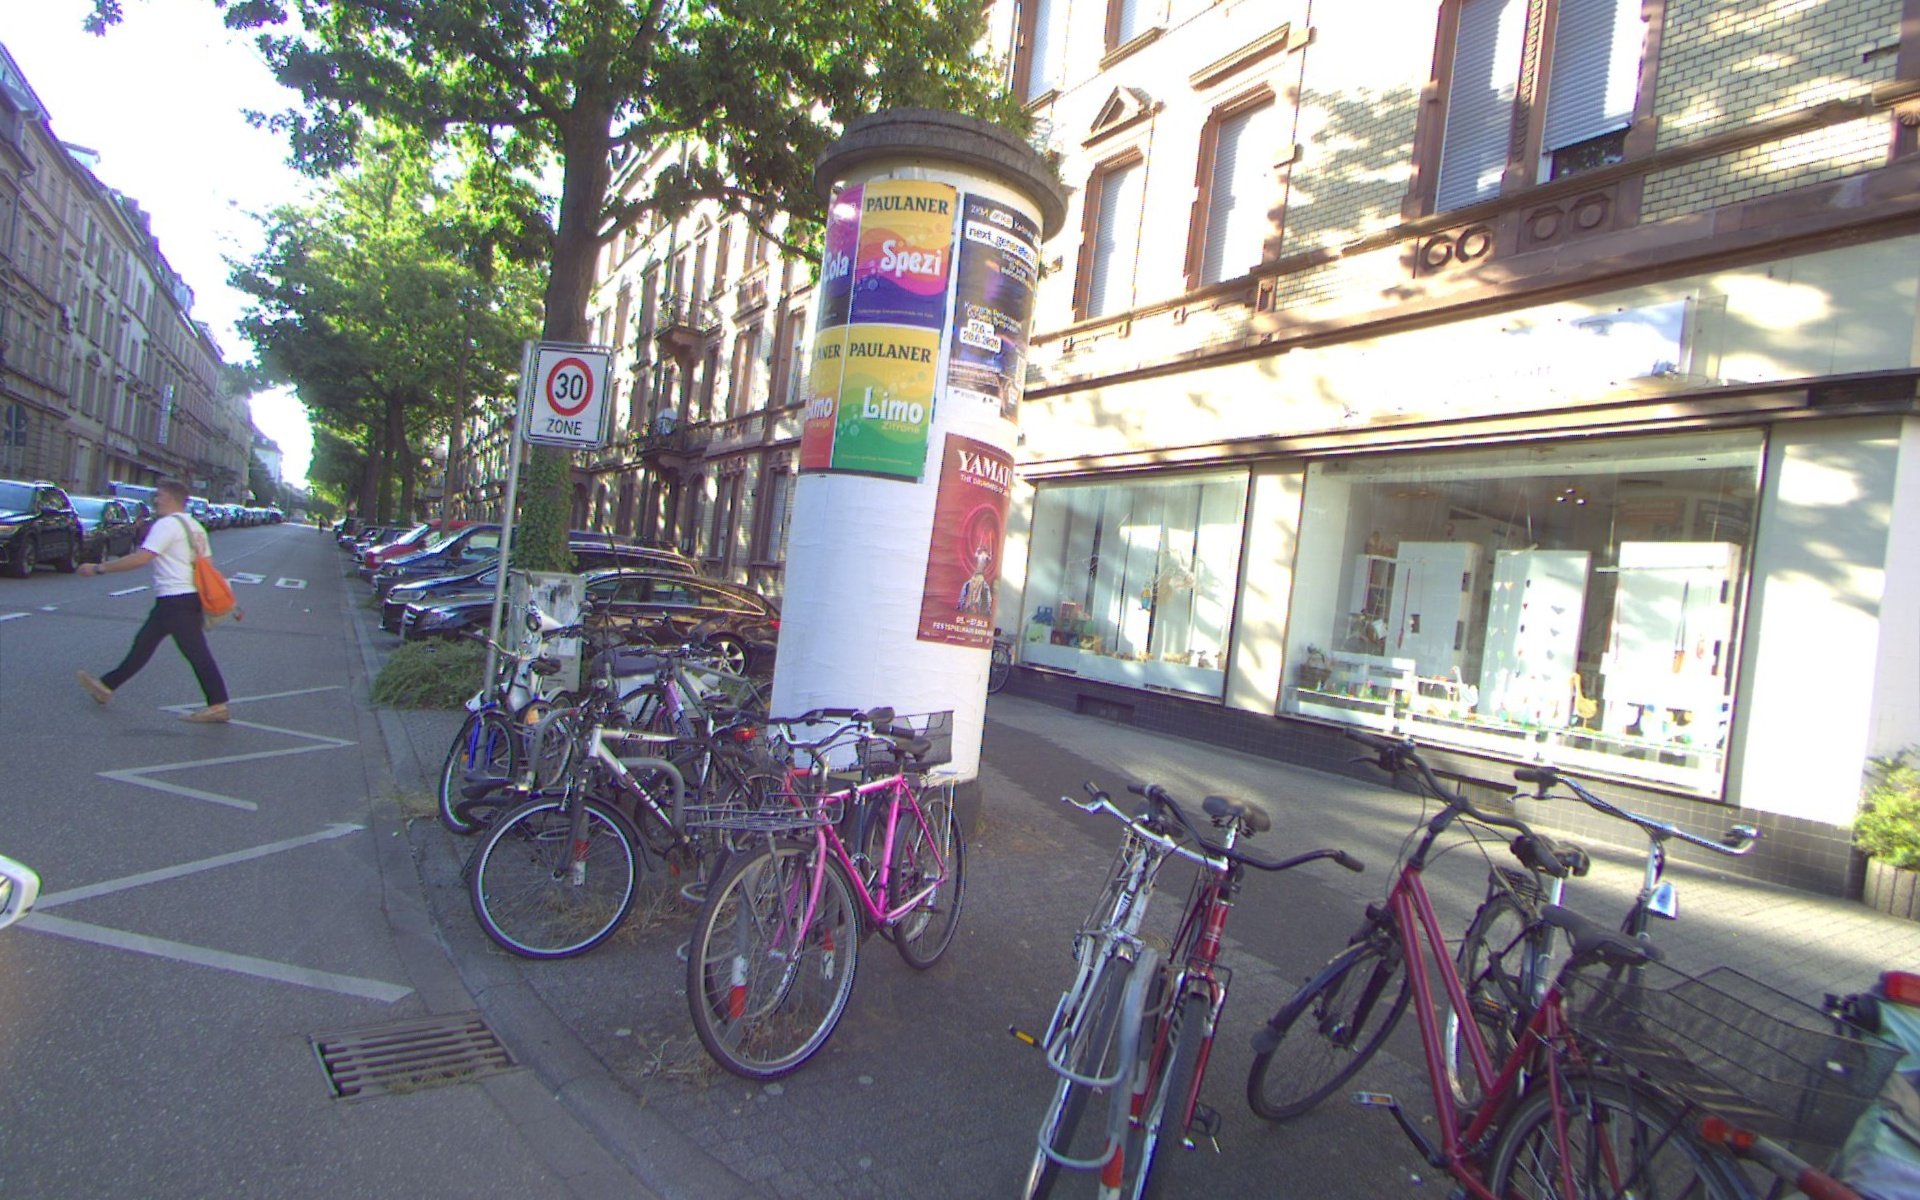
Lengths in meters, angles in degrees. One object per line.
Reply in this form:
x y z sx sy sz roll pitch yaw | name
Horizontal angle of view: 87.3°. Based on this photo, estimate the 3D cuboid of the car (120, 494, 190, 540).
-35.071 -3.609 43.935 1.743 1.627 4.345 9 -1 -32 | car

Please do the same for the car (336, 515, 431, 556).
-36.151 -4.035 63.171 5.020 1.951 1.818 5 2 -33 | car

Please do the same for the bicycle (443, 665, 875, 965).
-1.221 0.834 4.534 0.489 1.001 1.929 5 1 35 | bicycle

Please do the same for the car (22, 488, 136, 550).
-26.599 -2.431 30.502 1.745 1.520 4.027 6 1 -30 | car

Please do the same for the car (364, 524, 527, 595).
-15.349 -1.193 30.127 4.151 1.649 1.823 5 1 -30 | car

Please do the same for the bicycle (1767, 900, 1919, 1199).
1.977 1.231 1.801 0.727 1.039 0.996 7 0 35 | bicycle

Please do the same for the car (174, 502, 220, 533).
-43.739 -4.732 57.697 1.747 1.491 4.021 6 1 -34 | car

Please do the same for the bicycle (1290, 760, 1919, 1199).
1.282 1.060 2.318 0.417 1.108 1.476 4 1 -2 | bicycle

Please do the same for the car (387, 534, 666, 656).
-7.376 -0.058 17.234 4.078 1.553 1.710 7 0 -32 | car

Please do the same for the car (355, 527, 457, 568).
-25.729 -2.442 46.753 3.981 1.486 1.718 5 1 -33 | car

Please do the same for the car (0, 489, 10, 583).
-14.766 -0.973 13.407 1.743 1.470 4.519 6 0 -27 | car

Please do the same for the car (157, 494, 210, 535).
-41.178 -4.552 53.423 1.747 1.865 4.487 6 1 -34 | car

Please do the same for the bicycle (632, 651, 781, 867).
-1.487 0.835 5.732 0.350 0.940 1.513 3 1 -31 | bicycle

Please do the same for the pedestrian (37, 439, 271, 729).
-5.869 -0.090 7.418 1.107 1.922 0.835 6 1 -33 | pedestrian

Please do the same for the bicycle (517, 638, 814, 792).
-1.991 0.786 6.979 1.916 0.940 0.351 4 2 -34 | bicycle

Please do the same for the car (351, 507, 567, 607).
-12.808 -1.058 25.827 4.645 2.060 1.860 5 1 -36 | car

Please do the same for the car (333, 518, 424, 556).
-34.537 -3.725 59.821 1.807 1.818 4.215 7 2 38 | car

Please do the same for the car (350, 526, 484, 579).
-20.572 -1.787 38.151 4.312 1.578 1.832 4 3 -34 | car

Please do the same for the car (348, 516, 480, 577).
-21.857 -2.131 40.322 4.413 1.951 1.831 4 3 -36 | car

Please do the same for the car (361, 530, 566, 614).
-11.531 -0.634 23.433 4.025 1.530 1.862 5 1 -33 | car

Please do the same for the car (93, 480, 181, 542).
-31.825 -3.409 39.035 1.821 1.966 5.213 9 -1 -33 | car

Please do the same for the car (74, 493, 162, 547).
-28.775 -2.710 34.477 1.582 1.492 3.669 9 -1 -31 | car

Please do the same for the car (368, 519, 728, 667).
-6.075 -0.058 15.119 4.645 1.700 1.838 5 1 -28 | car

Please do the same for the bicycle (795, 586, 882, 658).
-2.409 0.393 19.587 0.665 1.187 2.572 4 1 -30 | bicycle

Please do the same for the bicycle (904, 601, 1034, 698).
0.072 0.700 15.087 0.665 1.187 2.572 4 1 -30 | bicycle

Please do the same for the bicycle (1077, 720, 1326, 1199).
0.757 1.016 2.911 0.417 1.108 1.935 5 1 18 | bicycle

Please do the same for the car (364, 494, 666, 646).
-8.652 -0.518 19.740 4.990 2.242 1.974 7 0 -34 | car

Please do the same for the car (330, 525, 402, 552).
-38.413 -3.983 65.100 3.826 1.311 1.701 5 2 -36 | car

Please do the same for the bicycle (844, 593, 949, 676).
-1.152 0.564 17.384 0.665 1.187 2.572 4 1 -30 | bicycle

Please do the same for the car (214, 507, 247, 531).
-55.210 -6.138 76.182 1.747 1.491 4.021 6 1 -34 | car

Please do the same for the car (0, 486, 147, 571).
-19.598 -1.567 22.236 1.744 1.520 4.028 6 1 -29 | car

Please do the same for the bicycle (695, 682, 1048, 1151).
-0.179 0.927 3.662 0.417 1.108 1.935 5 1 20 | bicycle

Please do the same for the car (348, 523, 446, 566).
-27.206 -2.689 48.669 3.981 1.628 1.718 5 1 -33 | car

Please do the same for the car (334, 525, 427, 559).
-31.688 -3.157 55.043 4.196 1.422 1.816 5 2 -38 | car

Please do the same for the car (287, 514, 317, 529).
-112.057 -13.395 171.308 3.951 1.882 1.740 8 0 -25 | car

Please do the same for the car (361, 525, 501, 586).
-17.944 -1.487 34.167 3.983 1.649 1.788 5 1 -35 | car

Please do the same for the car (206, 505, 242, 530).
-52.748 -5.897 72.152 1.747 1.491 4.021 6 1 -34 | car

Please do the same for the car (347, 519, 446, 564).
-28.594 -2.949 51.047 4.191 1.800 1.818 5 2 -34 | car

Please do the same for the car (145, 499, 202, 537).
-38.539 -4.031 49.379 1.749 1.484 3.963 9 -1 -34 | car

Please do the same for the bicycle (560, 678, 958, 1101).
-0.614 0.909 3.868 0.493 1.066 1.935 5 1 20 | bicycle

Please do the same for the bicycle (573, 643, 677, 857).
-1.939 0.783 5.725 0.350 0.940 1.516 3 1 -25 | bicycle

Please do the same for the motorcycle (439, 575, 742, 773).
-2.628 0.534 7.236 1.883 1.250 0.680 4 2 -33 | motorcycle

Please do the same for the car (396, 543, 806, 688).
-4.628 0.231 13.198 4.747 1.431 1.836 5 1 -31 | car

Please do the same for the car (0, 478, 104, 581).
-17.016 -1.337 17.847 1.743 1.620 4.517 6 1 -28 | car

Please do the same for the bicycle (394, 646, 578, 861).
-2.556 0.775 5.561 0.348 0.940 1.412 4 1 -2 | bicycle

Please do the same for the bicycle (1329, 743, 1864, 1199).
1.720 1.117 3.034 0.563 1.108 1.476 4 1 -1 | bicycle

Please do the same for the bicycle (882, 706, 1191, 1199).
0.353 0.977 3.059 0.417 1.108 1.935 5 1 18 | bicycle
